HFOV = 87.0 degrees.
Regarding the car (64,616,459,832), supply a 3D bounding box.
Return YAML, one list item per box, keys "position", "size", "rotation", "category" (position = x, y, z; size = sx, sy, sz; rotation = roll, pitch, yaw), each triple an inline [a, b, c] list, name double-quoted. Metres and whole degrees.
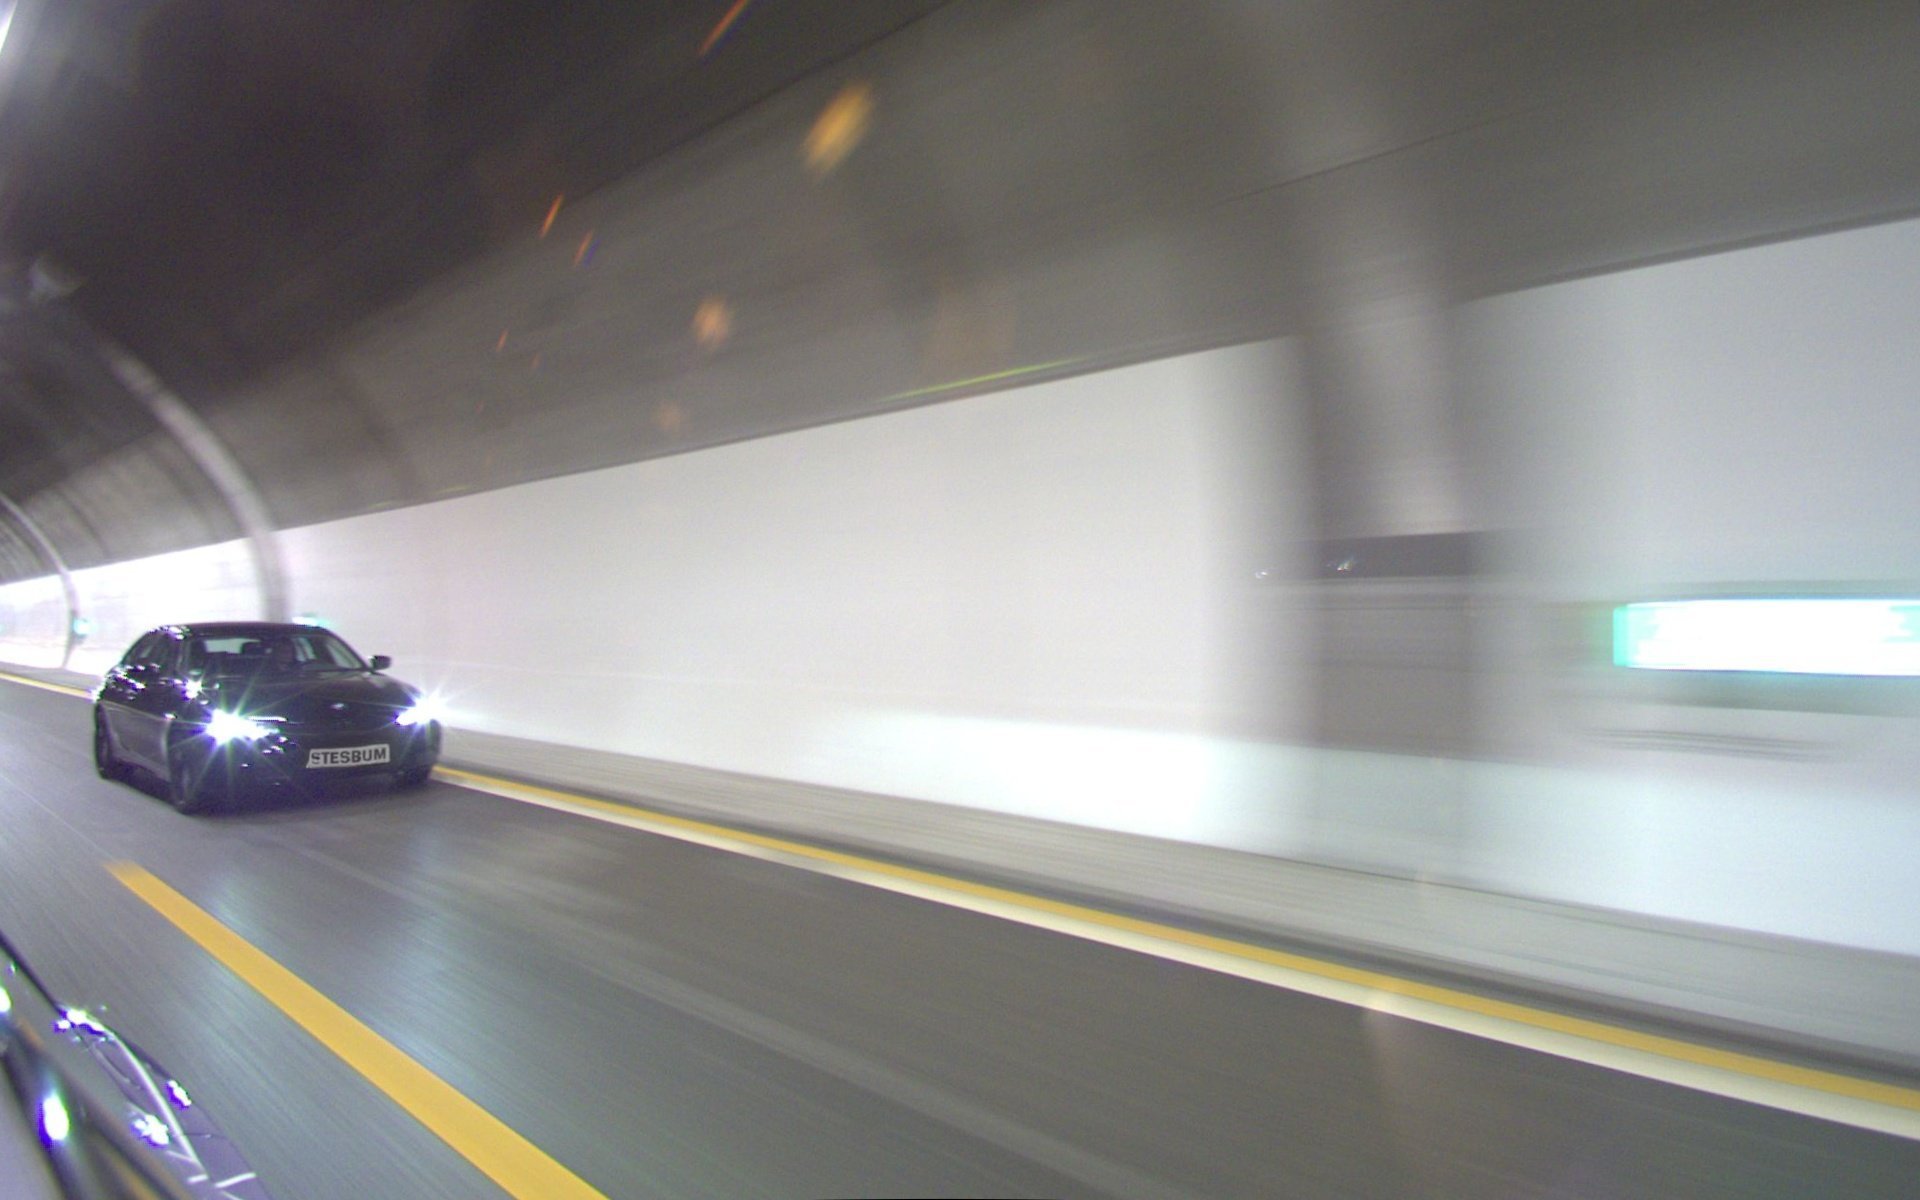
- position: [-6.563, 0.911, 9.252]
  size: [4.879, 1.449, 1.760]
  rotation: [-1, 0, 40]
  category: "car"
